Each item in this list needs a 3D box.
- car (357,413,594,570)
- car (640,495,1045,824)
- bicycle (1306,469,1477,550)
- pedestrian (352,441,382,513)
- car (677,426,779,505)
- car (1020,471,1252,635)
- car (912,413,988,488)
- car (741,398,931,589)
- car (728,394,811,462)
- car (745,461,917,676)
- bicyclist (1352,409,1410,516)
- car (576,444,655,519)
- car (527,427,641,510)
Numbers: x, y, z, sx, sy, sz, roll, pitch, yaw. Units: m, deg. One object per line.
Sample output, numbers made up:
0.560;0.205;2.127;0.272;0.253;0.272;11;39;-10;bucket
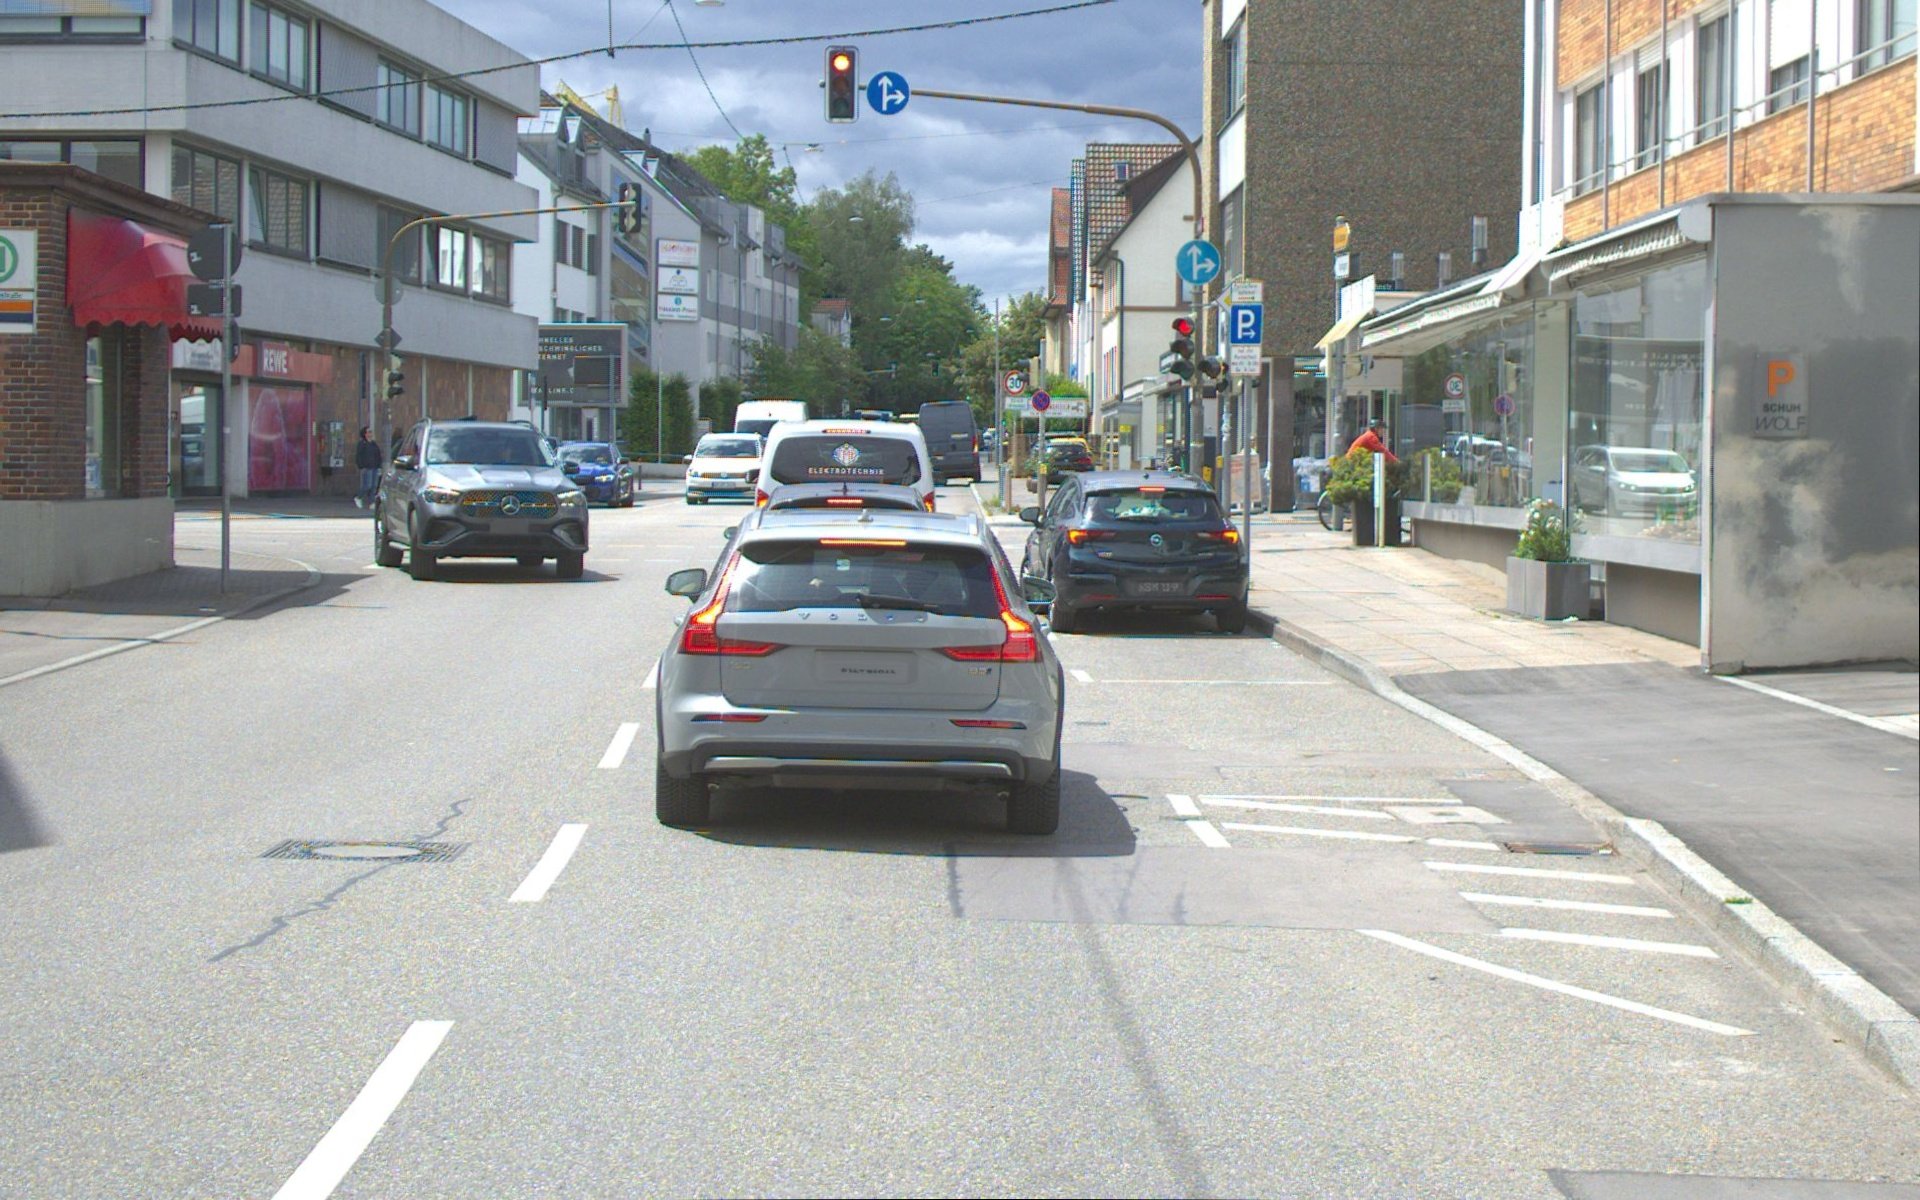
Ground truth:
-5.704;-1.228;40.037;1.839;1.720;4.353;0;1;-20;car
-0.522;0.228;16.857;1.744;1.412;4.000;0;1;0;car
6.624;-1.392;52.839;2.523;1.170;0.585;1;1;-3;bicycle
-11.821;-2.449;68.553;0.514;1.431;0.490;0;1;1;pedestrian
-5.312;-3.081;79.161;1.873;1.634;4.000;2;0;2;car
1.597;-0.492;32.422;1.752;1.366;4.001;1;3;-3;car
-0.355;-5.042;116.416;2.436;2.310;5.327;2;1;-1;car
-1.251;-1.084;36.106;1.836;1.855;3.850;1;1;0;car
-5.148;-4.651;93.364;1.873;1.634;4.000;1;0;2;car
-0.984;-0.296;27.099;1.273;1.522;3.051;0;4;-1;car
6.474;-2.109;52.846;0.772;1.601;0.581;1;0;-3;bicyclist
-10.085;-3.457;100.850;1.993;2.007;4.000;2;0;-2;car
-8.235;-2.870;75.616;1.873;1.634;4.000;2;0;2;car
